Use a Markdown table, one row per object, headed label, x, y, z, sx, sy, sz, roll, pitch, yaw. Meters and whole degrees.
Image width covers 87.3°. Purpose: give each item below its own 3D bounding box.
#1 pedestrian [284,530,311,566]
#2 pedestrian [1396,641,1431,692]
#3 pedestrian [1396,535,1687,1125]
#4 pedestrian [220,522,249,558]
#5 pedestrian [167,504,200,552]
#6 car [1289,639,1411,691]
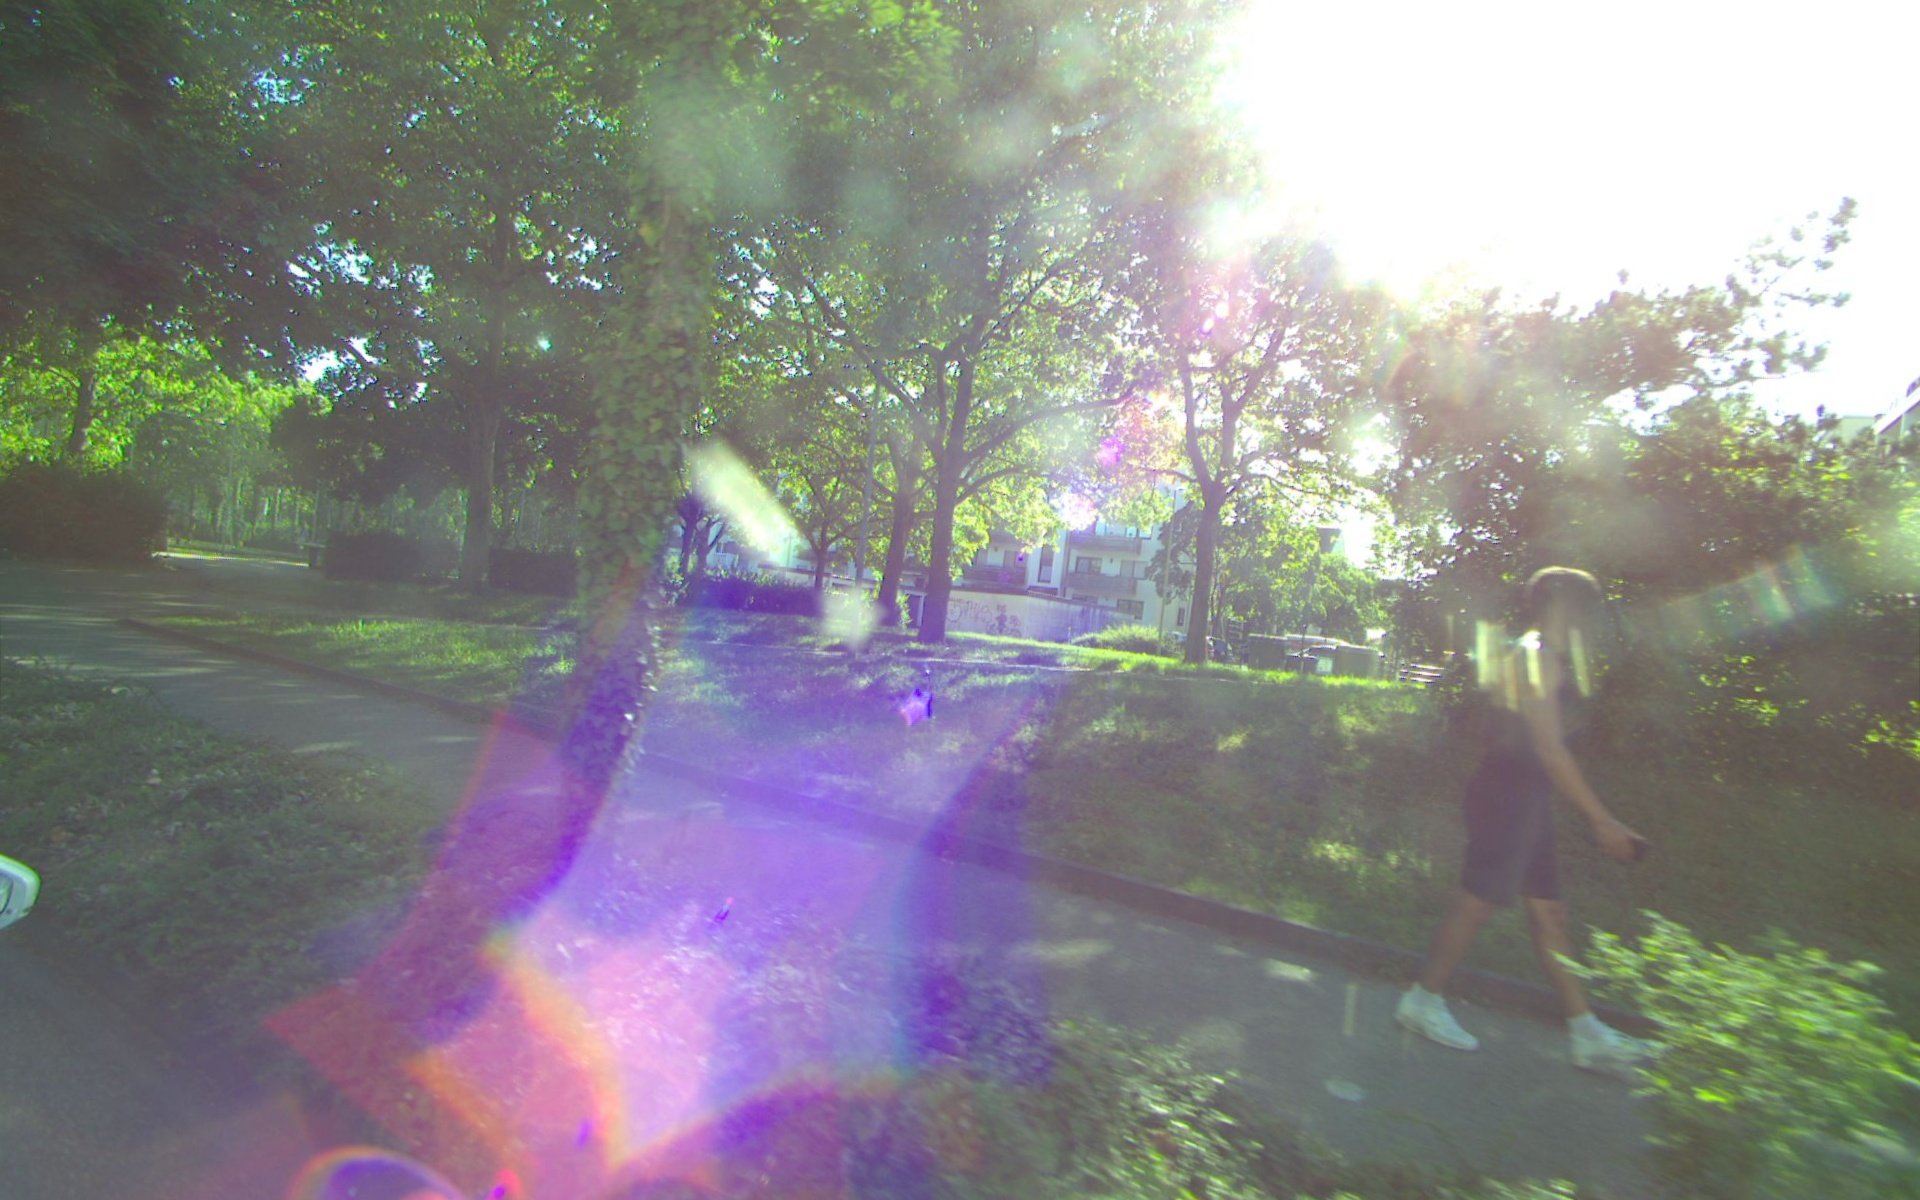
| label | x | y | z | sx | sy | sz | roll | pitch | yaw |
| --- | --- | --- | --- | --- | --- | --- | --- | --- | --- |
| pedestrian | -23.630 | -1.842 | 35.896 | 0.556 | 1.185 | 0.493 | 8 | -1 | -14 |
| pedestrian | 14.920 | 2.183 | 33.103 | 0.668 | 1.606 | 0.627 | 7 | -1 | 1 |
| pedestrian | 2.127 | 0.756 | 3.719 | 0.660 | 1.854 | 0.792 | 7 | 0 | 31 |
| pedestrian | -26.213 | -2.170 | 36.357 | 0.554 | 1.185 | 0.495 | 7 | -1 | 8 |
| pedestrian | -28.536 | -2.628 | 36.976 | 0.692 | 1.629 | 0.695 | 8 | -2 | -28 |
| car | 13.995 | 2.325 | 36.139 | 3.792 | 1.308 | 1.542 | 6 | -2 | 30 |
